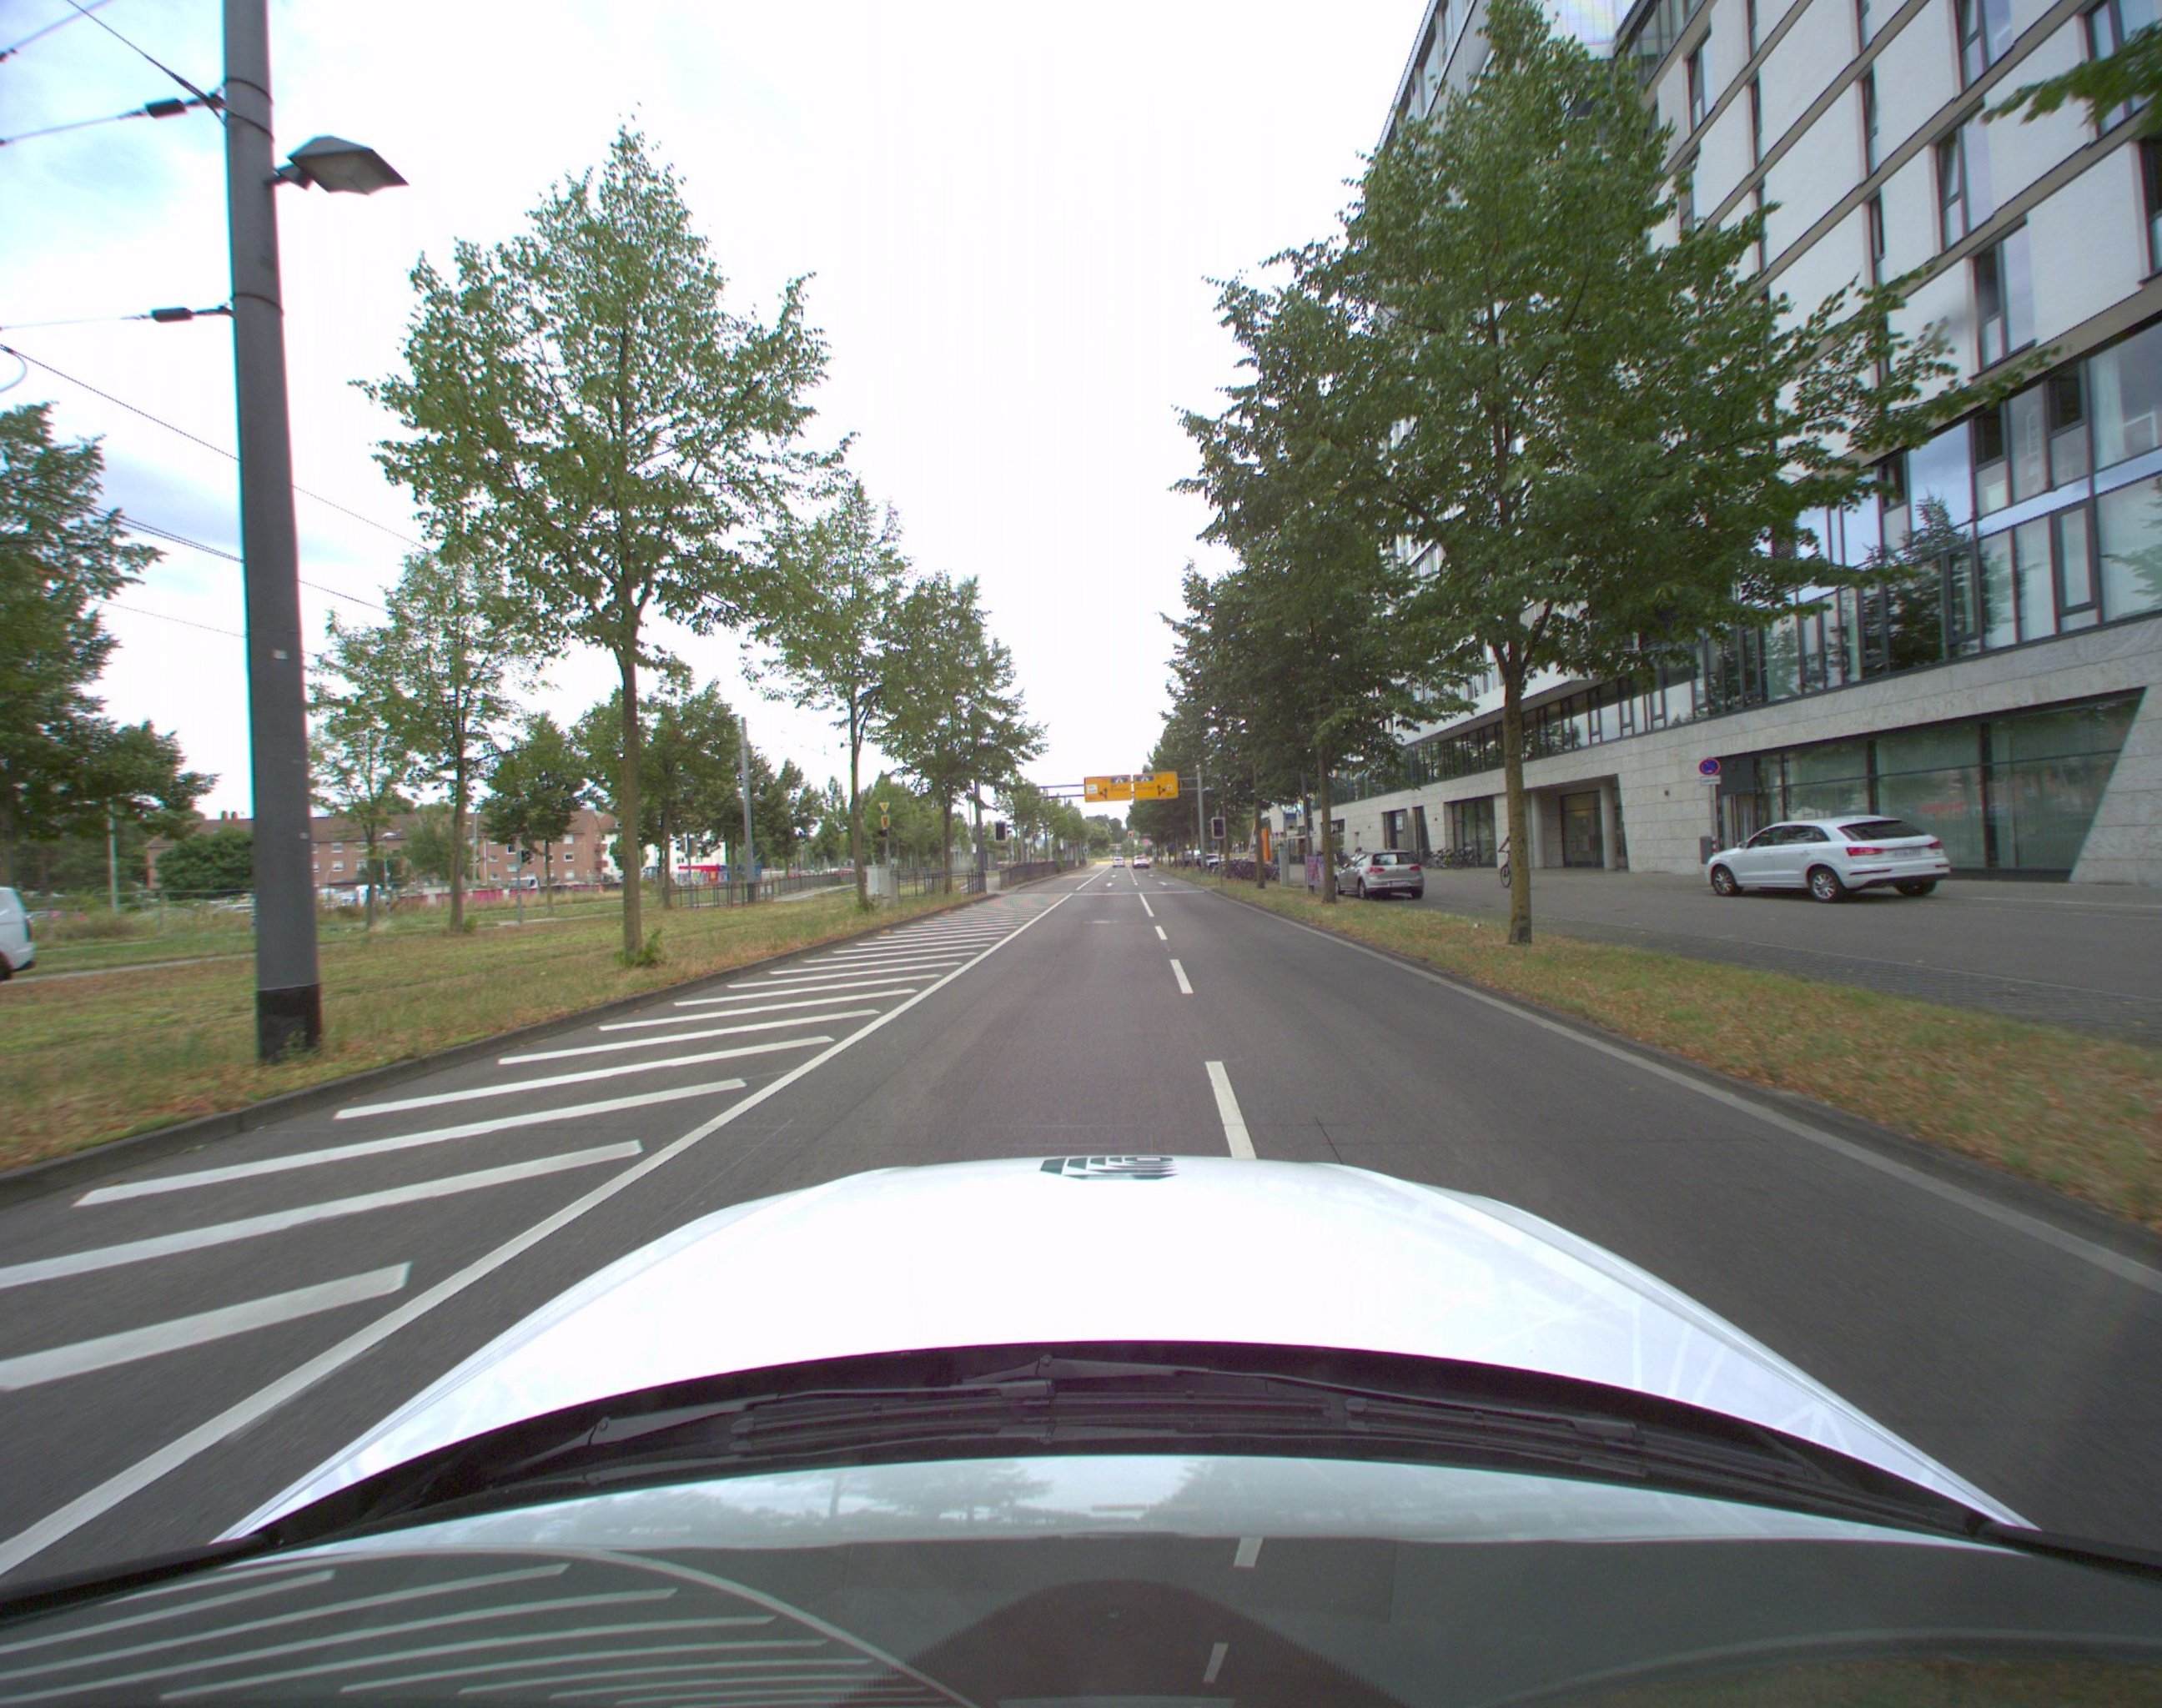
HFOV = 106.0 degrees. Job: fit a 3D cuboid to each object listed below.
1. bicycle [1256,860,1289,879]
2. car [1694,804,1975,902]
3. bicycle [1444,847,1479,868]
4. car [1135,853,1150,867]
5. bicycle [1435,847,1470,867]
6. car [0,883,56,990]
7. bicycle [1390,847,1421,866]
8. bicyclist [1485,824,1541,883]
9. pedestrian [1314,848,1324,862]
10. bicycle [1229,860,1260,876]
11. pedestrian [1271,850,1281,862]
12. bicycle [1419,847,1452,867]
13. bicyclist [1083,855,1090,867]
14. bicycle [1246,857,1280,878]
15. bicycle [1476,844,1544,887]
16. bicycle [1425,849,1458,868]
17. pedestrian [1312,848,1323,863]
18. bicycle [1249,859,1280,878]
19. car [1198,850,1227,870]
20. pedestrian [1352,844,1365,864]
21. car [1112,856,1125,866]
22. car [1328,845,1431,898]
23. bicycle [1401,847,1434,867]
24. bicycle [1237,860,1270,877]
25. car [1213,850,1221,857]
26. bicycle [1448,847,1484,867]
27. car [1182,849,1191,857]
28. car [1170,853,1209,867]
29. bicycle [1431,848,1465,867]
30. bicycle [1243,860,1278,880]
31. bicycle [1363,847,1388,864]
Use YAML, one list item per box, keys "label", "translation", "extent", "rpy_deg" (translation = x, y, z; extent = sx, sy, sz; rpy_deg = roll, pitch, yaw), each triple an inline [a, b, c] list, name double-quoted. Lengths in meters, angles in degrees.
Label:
- label: "bicycle"
  translation: [9.689, 0.783, 41.275]
  extent: [1.524, 0.953, 0.552]
  rpy_deg: [0, 0, -1]
- label: "car"
  translation: [15.043, -0.020, 16.662]
  extent: [1.850, 1.588, 4.243]
  rpy_deg: [-5, 0, 3]
- label: "bicycle"
  translation: [19.423, 0.172, 41.610]
  extent: [1.524, 0.953, 0.533]
  rpy_deg: [-3, -1, -1]
- label: "car"
  translation: [7.564, 0.738, 100.797]
  extent: [1.771, 1.656, 4.027]
  rpy_deg: [-3, 0, 3]
- label: "bicycle"
  translation: [19.406, 0.168, 42.551]
  extent: [1.524, 0.953, 0.533]
  rpy_deg: [-3, -1, -1]
- label: "car"
  translation: [-20.882, 1.573, 13.277]
  extent: [1.989, 1.944, 5.089]
  rpy_deg: [-3, 0, -4]
- label: "bicycle"
  translation: [19.379, 0.161, 48.593]
  extent: [1.593, 1.026, 0.533]
  rpy_deg: [-4, -1, -1]
- label: "bicyclist"
  translation: [13.486, -0.016, 25.453]
  extent: [0.993, 1.737, 1.130]
  rpy_deg: [-6, -1, 2]
- label: "pedestrian"
  translation: [21.073, 0.109, 72.012]
  extent: [0.712, 1.192, 0.763]
  rpy_deg: [-3, 0, 25]
- label: "bicycle"
  translation: [9.910, 0.836, 49.279]
  extent: [1.741, 0.974, 0.608]
  rpy_deg: [1, 0, -6]
- label: "pedestrian"
  translation: [20.941, 0.231, 87.409]
  extent: [0.893, 1.228, 0.952]
  rpy_deg: [-3, 0, 7]
- label: "bicycle"
  translation: [19.537, 0.180, 44.920]
  extent: [1.524, 1.026, 0.533]
  rpy_deg: [-3, -1, -1]
- label: "bicyclist"
  translation: [0.893, 1.131, 134.945]
  extent: [0.736, 1.888, 0.723]
  rpy_deg: [12, -13, -31]
- label: "bicycle"
  translation: [9.561, 0.696, 42.789]
  extent: [1.663, 1.090, 0.525]
  rpy_deg: [0, 0, -1]
- label: "bicycle"
  translation: [13.456, 0.350, 25.660]
  extent: [0.898, 1.235, 2.269]
  rpy_deg: [-6, 0, 2]
- label: "bicycle"
  translation: [19.460, 0.228, 43.980]
  extent: [1.524, 0.953, 0.533]
  rpy_deg: [-3, -1, -1]
- label: "pedestrian"
  translation: [20.461, 0.122, 70.458]
  extent: [0.766, 1.192, 1.111]
  rpy_deg: [-3, 0, 18]
- label: "bicycle"
  translation: [9.468, 0.758, 42.055]
  extent: [1.524, 0.953, 0.484]
  rpy_deg: [0, 0, -1]
- label: "car"
  translation: [11.476, 0.492, 71.290]
  extent: [1.930, 1.552, 4.596]
  rpy_deg: [-3, 0, 2]
- label: "pedestrian"
  translation: [20.318, 0.011, 59.696]
  extent: [0.752, 1.407, 0.723]
  rpy_deg: [-3, 0, 10]
- label: "car"
  translation: [5.473, 1.036, 120.095]
  extent: [1.767, 1.448, 3.911]
  rpy_deg: [-3, 0, 1]
- label: "car"
  translation: [9.041, 0.509, 25.019]
  extent: [1.753, 1.421, 4.186]
  rpy_deg: [-2, 0, 3]
- label: "bicycle"
  translation: [19.319, 0.159, 46.748]
  extent: [1.593, 1.026, 0.533]
  rpy_deg: [-4, -1, -1]
- label: "bicycle"
  translation: [9.633, 0.809, 45.619]
  extent: [1.712, 0.906, 0.587]
  rpy_deg: [1, 0, -6]
- label: "car"
  translation: [33.070, -0.075, 198.001]
  extent: [1.771, 1.636, 4.417]
  rpy_deg: [-3, 0, 13]
- label: "bicycle"
  translation: [19.420, 0.162, 41.049]
  extent: [1.524, 0.953, 0.533]
  rpy_deg: [-3, -1, -1]
- label: "car"
  translation: [26.361, -0.243, 204.000]
  extent: [1.986, 1.791, 4.002]
  rpy_deg: [0, -1, 2]
- label: "car"
  translation: [12.857, 0.721, 97.159]
  extent: [1.954, 1.475, 4.821]
  rpy_deg: [-3, 0, -32]
- label: "bicycle"
  translation: [19.447, 0.175, 43.156]
  extent: [1.524, 0.953, 0.533]
  rpy_deg: [-3, -1, -1]
- label: "bicycle"
  translation: [9.610, 0.855, 43.617]
  extent: [1.770, 1.012, 0.609]
  rpy_deg: [0, 0, -6]
- label: "bicycle"
  translation: [20.247, 0.108, 55.928]
  extent: [1.605, 1.026, 0.605]
  rpy_deg: [-3, -1, -25]
